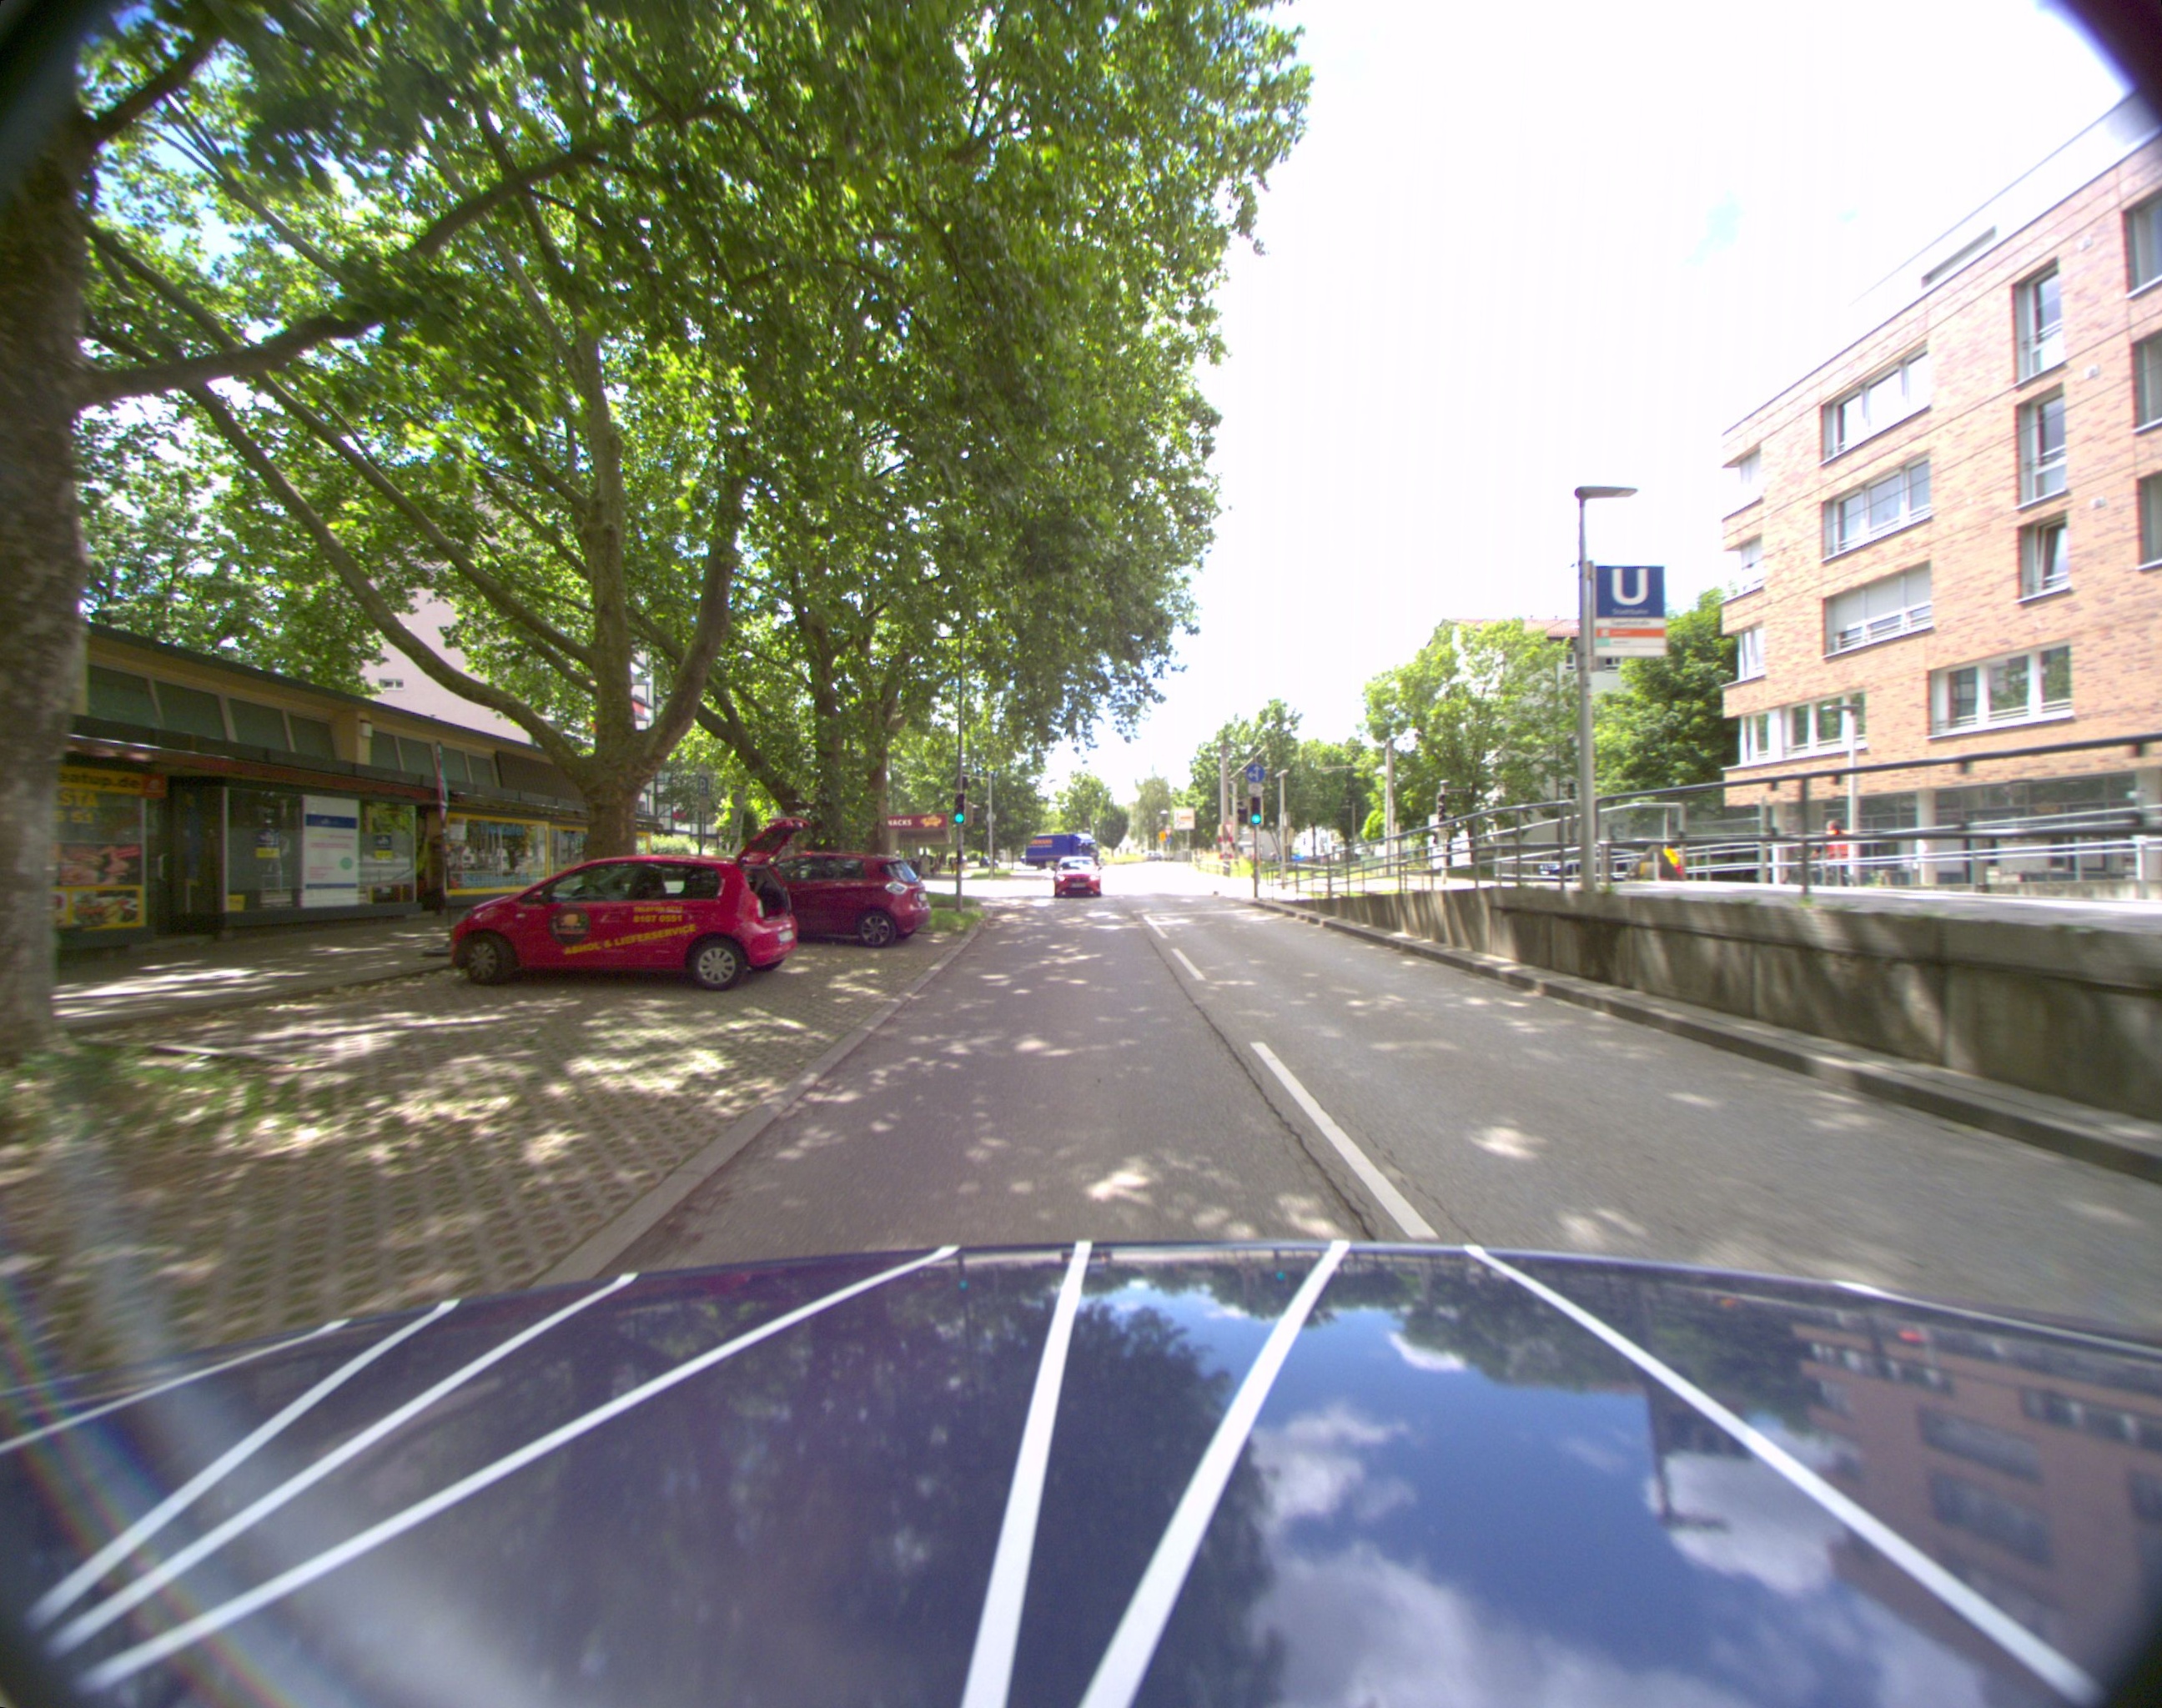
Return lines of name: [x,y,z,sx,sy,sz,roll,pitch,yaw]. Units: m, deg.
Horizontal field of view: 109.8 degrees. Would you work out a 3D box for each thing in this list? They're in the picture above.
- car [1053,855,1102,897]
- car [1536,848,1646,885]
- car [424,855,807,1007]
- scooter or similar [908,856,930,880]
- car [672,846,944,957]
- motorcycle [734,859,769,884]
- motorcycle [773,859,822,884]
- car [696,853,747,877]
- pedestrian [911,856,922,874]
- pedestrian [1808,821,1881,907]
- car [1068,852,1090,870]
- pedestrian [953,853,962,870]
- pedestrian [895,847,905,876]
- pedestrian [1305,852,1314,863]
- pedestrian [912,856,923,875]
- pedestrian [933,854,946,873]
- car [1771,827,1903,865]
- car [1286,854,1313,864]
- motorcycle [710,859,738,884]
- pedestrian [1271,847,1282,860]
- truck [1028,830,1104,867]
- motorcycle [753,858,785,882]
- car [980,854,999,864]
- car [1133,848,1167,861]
car: [-0.104,0.810,29.199,1.712,1.439,3.670,-2,0,1]
car: [22.224,0.533,33.224,3.681,1.468,1.588,2,0,3]
car: [-5.200,0.831,8.853,3.416,1.506,1.609,2,1,-3]
scooter or similar: [-8.726,0.742,40.921,0.376,1.300,1.234,0,1,32]
car: [-4.613,0.760,13.198,4.038,1.602,1.731,3,1,3]
motorcycle: [-16.162,0.842,37.254,2.132,1.188,0.741,0,1,43]
motorcycle: [-13.860,0.848,37.123,2.135,1.188,0.740,0,0,9]
car: [-21.803,0.649,46.265,1.749,1.334,3.487,-1,0,-7]
pedestrian: [-11.795,0.758,54.559,0.674,1.259,0.677,2,1,-9]
pedestrian: [16.482,0.215,16.415,0.745,1.814,0.829,-1,0,0]
car: [-0.178,0.573,64.766,1.761,1.514,3.824,0,0,-2]
pedestrian: [-10.792,0.654,66.248,0.726,1.529,0.654,0,1,-4]
pedestrian: [-10.193,0.421,42.799,0.444,1.623,0.399,-1,1,-41]
pedestrian: [32.895,0.496,109.376,1.022,1.655,0.875,0,1,-6]
pedestrian: [-11.474,0.787,53.232,0.677,1.259,0.673,2,1,-7]
pedestrian: [-10.014,0.672,53.868,0.677,1.259,0.674,3,0,4]
car: [29.066,-0.310,29.284,3.540,1.391,1.594,0,0,-2]
car: [32.525,0.727,113.246,1.811,1.514,4.116,0,0,-21]
motorcycle: [-17.626,0.855,37.461,0.741,1.188,2.132,-1,1,-40]
pedestrian: [23.556,-0.057,91.488,0.877,1.655,1.019,-1,1,-32]
truck: [-1.836,-0.567,86.445,9.581,4.069,2.637,0,0,43]
motorcycle: [-16.302,0.827,39.705,2.132,1.188,0.741,0,0,44]
car: [-13.638,0.716,113.183,1.811,1.346,3.993,0,0,-20]
car: [9.365,0.039,103.315,4.614,1.786,2.000,0,0,3]
